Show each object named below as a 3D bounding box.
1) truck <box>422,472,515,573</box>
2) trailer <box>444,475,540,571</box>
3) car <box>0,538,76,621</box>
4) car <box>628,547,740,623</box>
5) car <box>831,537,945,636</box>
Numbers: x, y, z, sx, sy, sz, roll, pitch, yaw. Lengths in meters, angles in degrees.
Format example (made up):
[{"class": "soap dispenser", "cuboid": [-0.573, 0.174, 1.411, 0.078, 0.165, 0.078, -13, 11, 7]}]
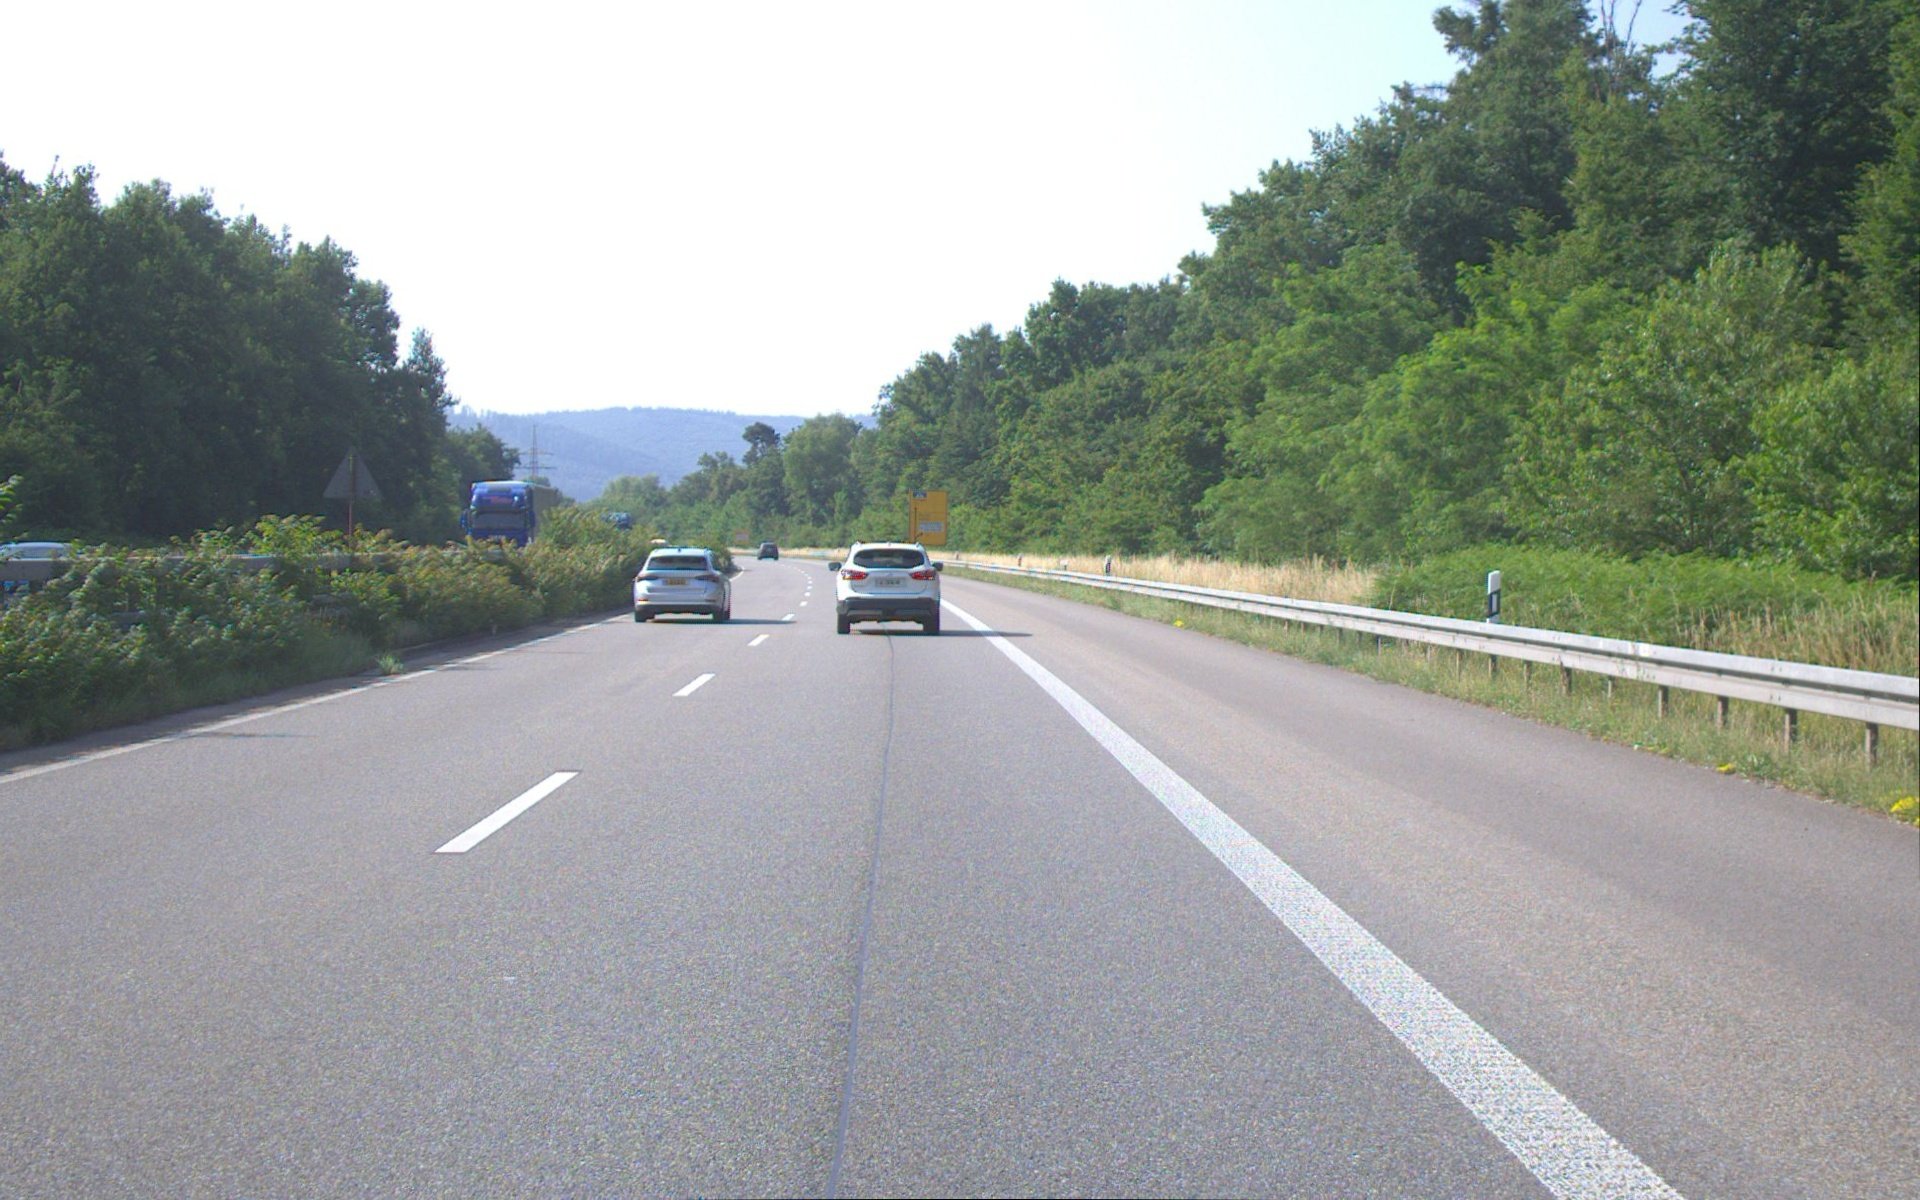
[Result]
[{"class": "truck", "cuboid": [-19.976, -3.142, 140.139, 2.784, 3.985, 8.417, 1, 1, -1]}, {"class": "trailer", "cuboid": [-20.167, -3.311, 148.694, 2.831, 3.985, 11.435, 1, 1, -1]}, {"class": "car", "cuboid": [-17.129, -0.398, 61.632, 1.557, 1.424, 3.909, 1, 1, 0]}, {"class": "car", "cuboid": [-5.508, -0.328, 69.136, 1.792, 1.433, 5.279, 0, 1, 0]}, {"class": "car", "cuboid": [-1.271, -0.263, 60.519, 1.873, 1.580, 4.001, 2, 1, -1]}]
